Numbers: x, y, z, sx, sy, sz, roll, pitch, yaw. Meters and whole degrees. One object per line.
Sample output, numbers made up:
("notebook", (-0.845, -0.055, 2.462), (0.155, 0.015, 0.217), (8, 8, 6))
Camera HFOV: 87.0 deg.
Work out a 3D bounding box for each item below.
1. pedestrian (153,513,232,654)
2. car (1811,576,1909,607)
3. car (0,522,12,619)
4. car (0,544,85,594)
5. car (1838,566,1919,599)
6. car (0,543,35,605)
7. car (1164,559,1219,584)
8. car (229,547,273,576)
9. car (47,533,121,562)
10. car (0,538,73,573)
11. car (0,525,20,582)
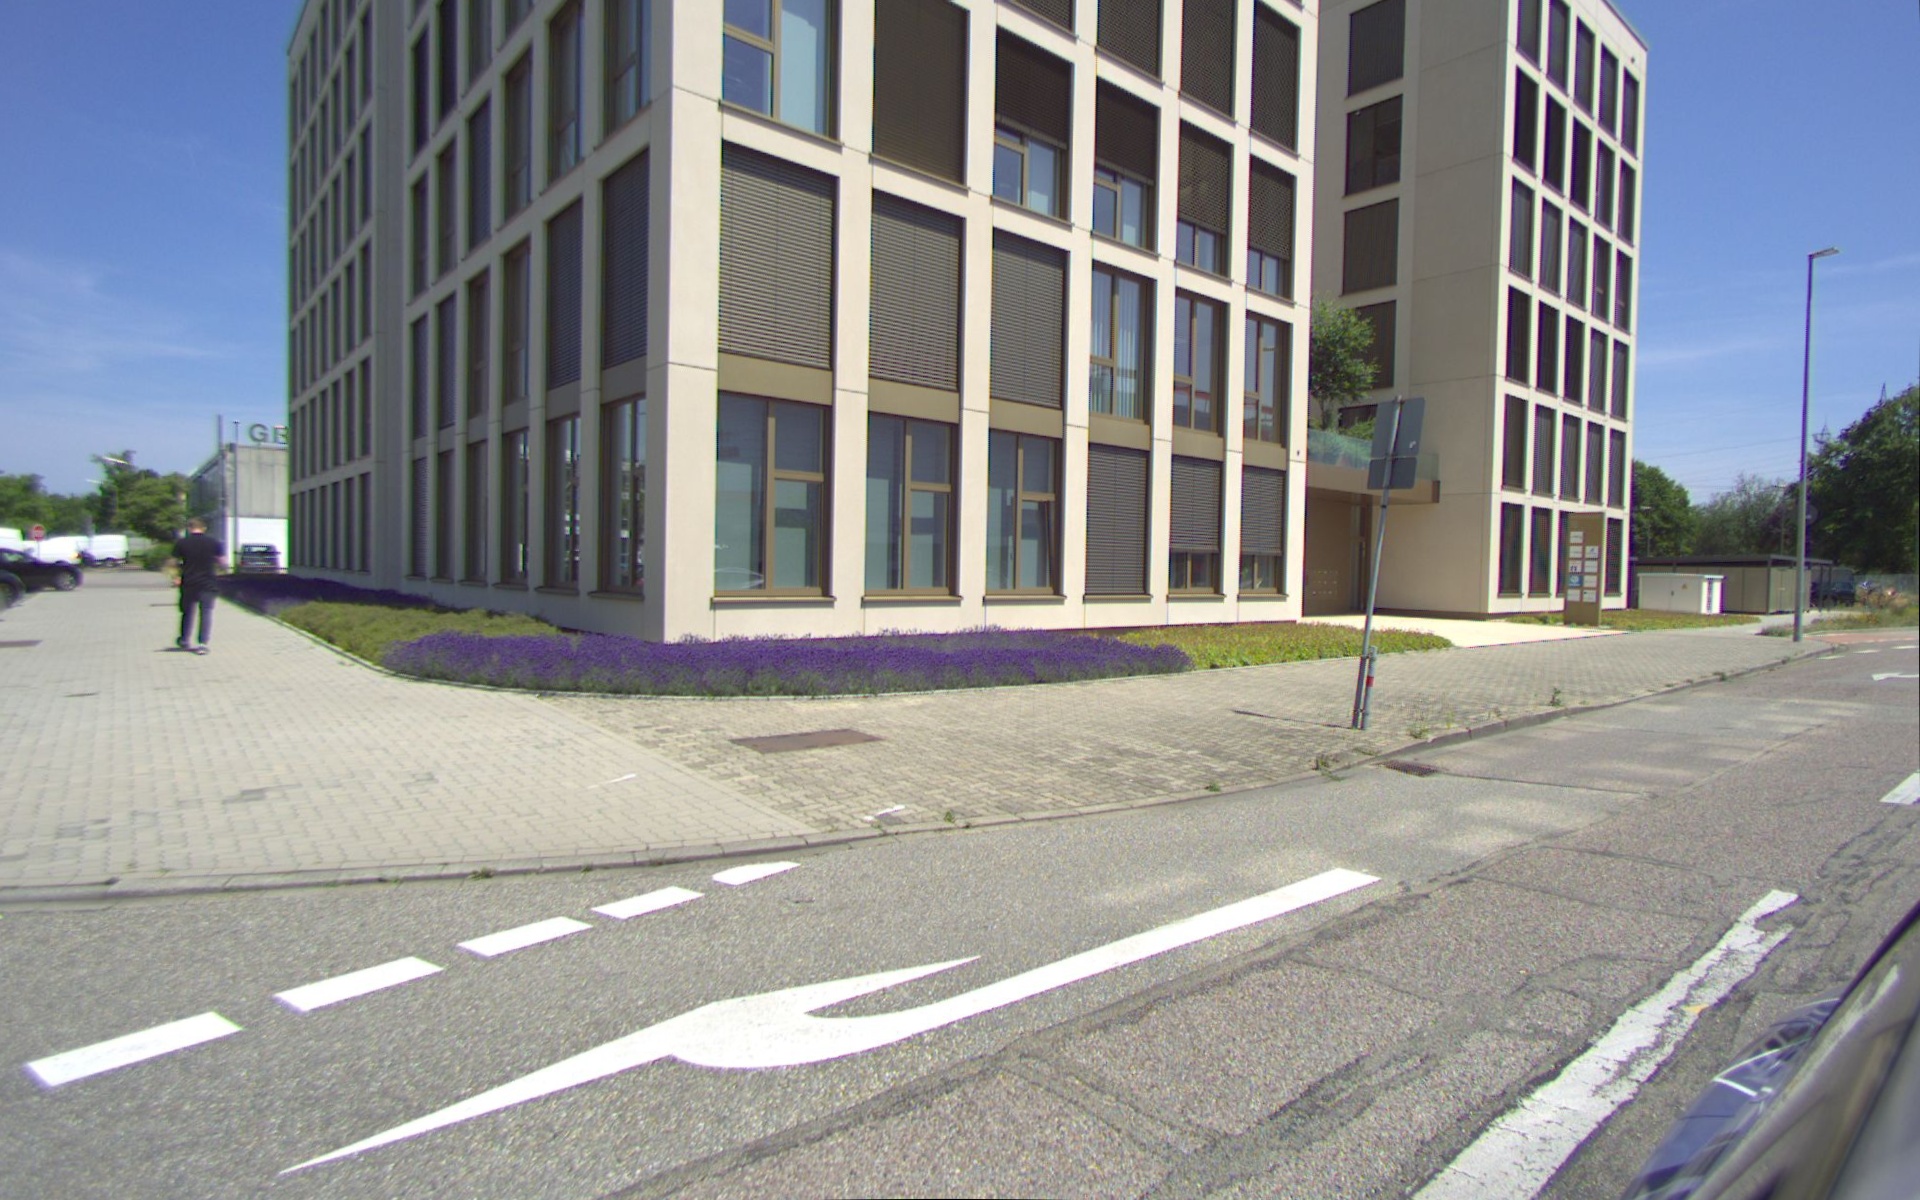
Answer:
("pedestrian", (-10.505, -0.242, 13.885), (0.758, 1.867, 0.869), (-1, 3, -33))
("car", (53.889, -0.528, 60.719), (3.960, 1.682, 1.823), (2, 2, 26))
("car", (-19.292, -0.497, 17.069), (1.676, 1.838, 4.899), (1, 2, 7))
("car", (-30.802, -0.992, 32.199), (1.792, 1.557, 4.132), (0, 3, 19))
("car", (57.377, -1.096, 62.724), (3.957, 1.977, 1.984), (2, 2, 25))
("car", (-23.862, -0.603, 23.051), (1.691, 1.482, 3.991), (1, 2, 9))
("car", (18.177, -2.205, 79.427), (3.921, 1.874, 2.002), (0, 2, -31))
("car", (-39.730, -2.183, 56.701), (1.758, 1.541, 3.574), (-1, 3, -39))
("car", (-69.453, -4.145, 80.317), (4.281, 2.146, 2.094), (0, 2, -38))
("car", (-56.770, -2.729, 61.658), (3.925, 2.038, 2.000), (0, 2, -36))
("car", (-45.832, -2.149, 44.995), (2.093, 2.565, 5.718), (2, 1, 39))
